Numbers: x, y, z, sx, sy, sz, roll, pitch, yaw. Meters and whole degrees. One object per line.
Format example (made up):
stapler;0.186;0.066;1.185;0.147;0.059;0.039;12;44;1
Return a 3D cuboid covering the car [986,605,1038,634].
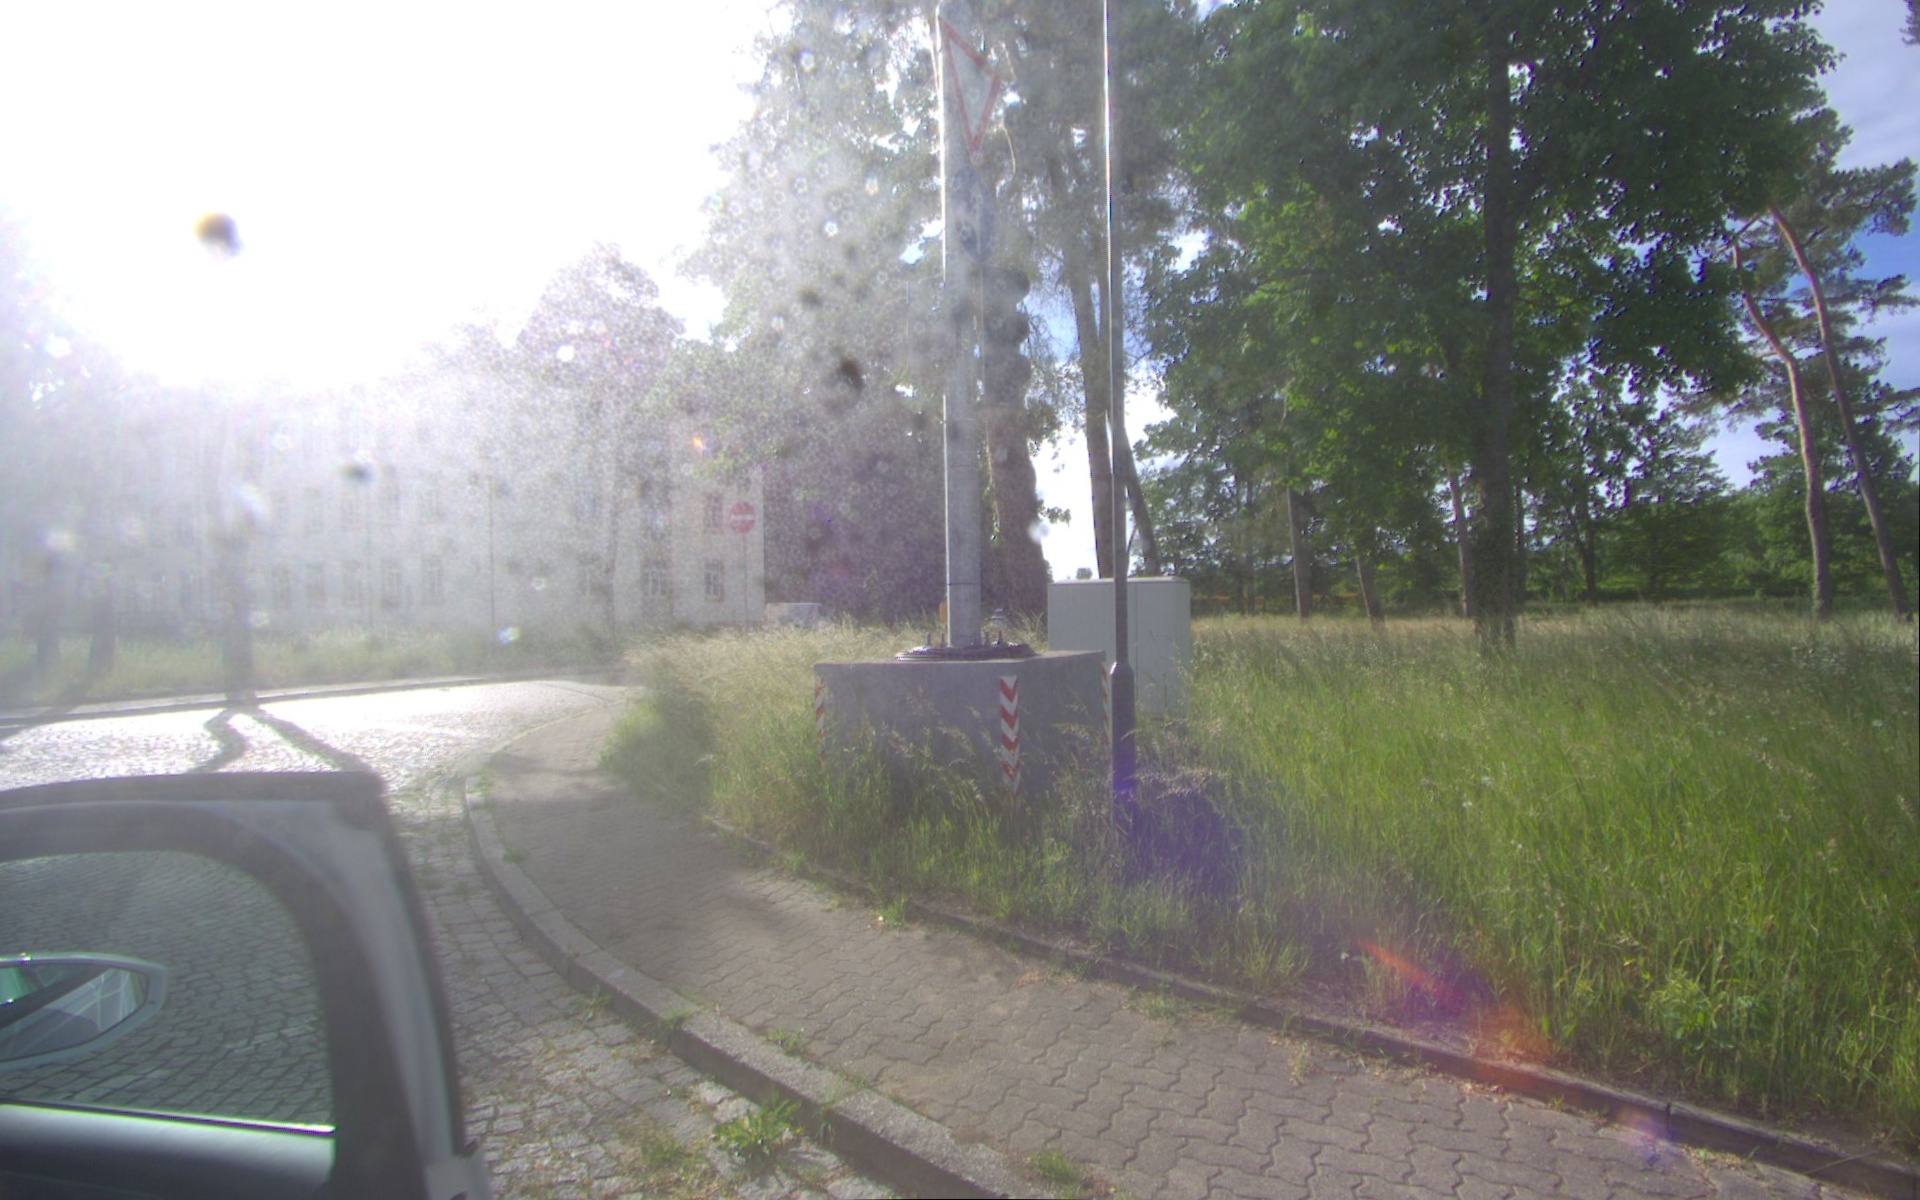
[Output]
car;3.249;1.169;61.702;1.827;1.701;3.932;-1;-1;25

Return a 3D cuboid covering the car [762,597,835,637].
car;-11.010;1.162;68.647;2.230;2.568;5.153;-1;-1;29
